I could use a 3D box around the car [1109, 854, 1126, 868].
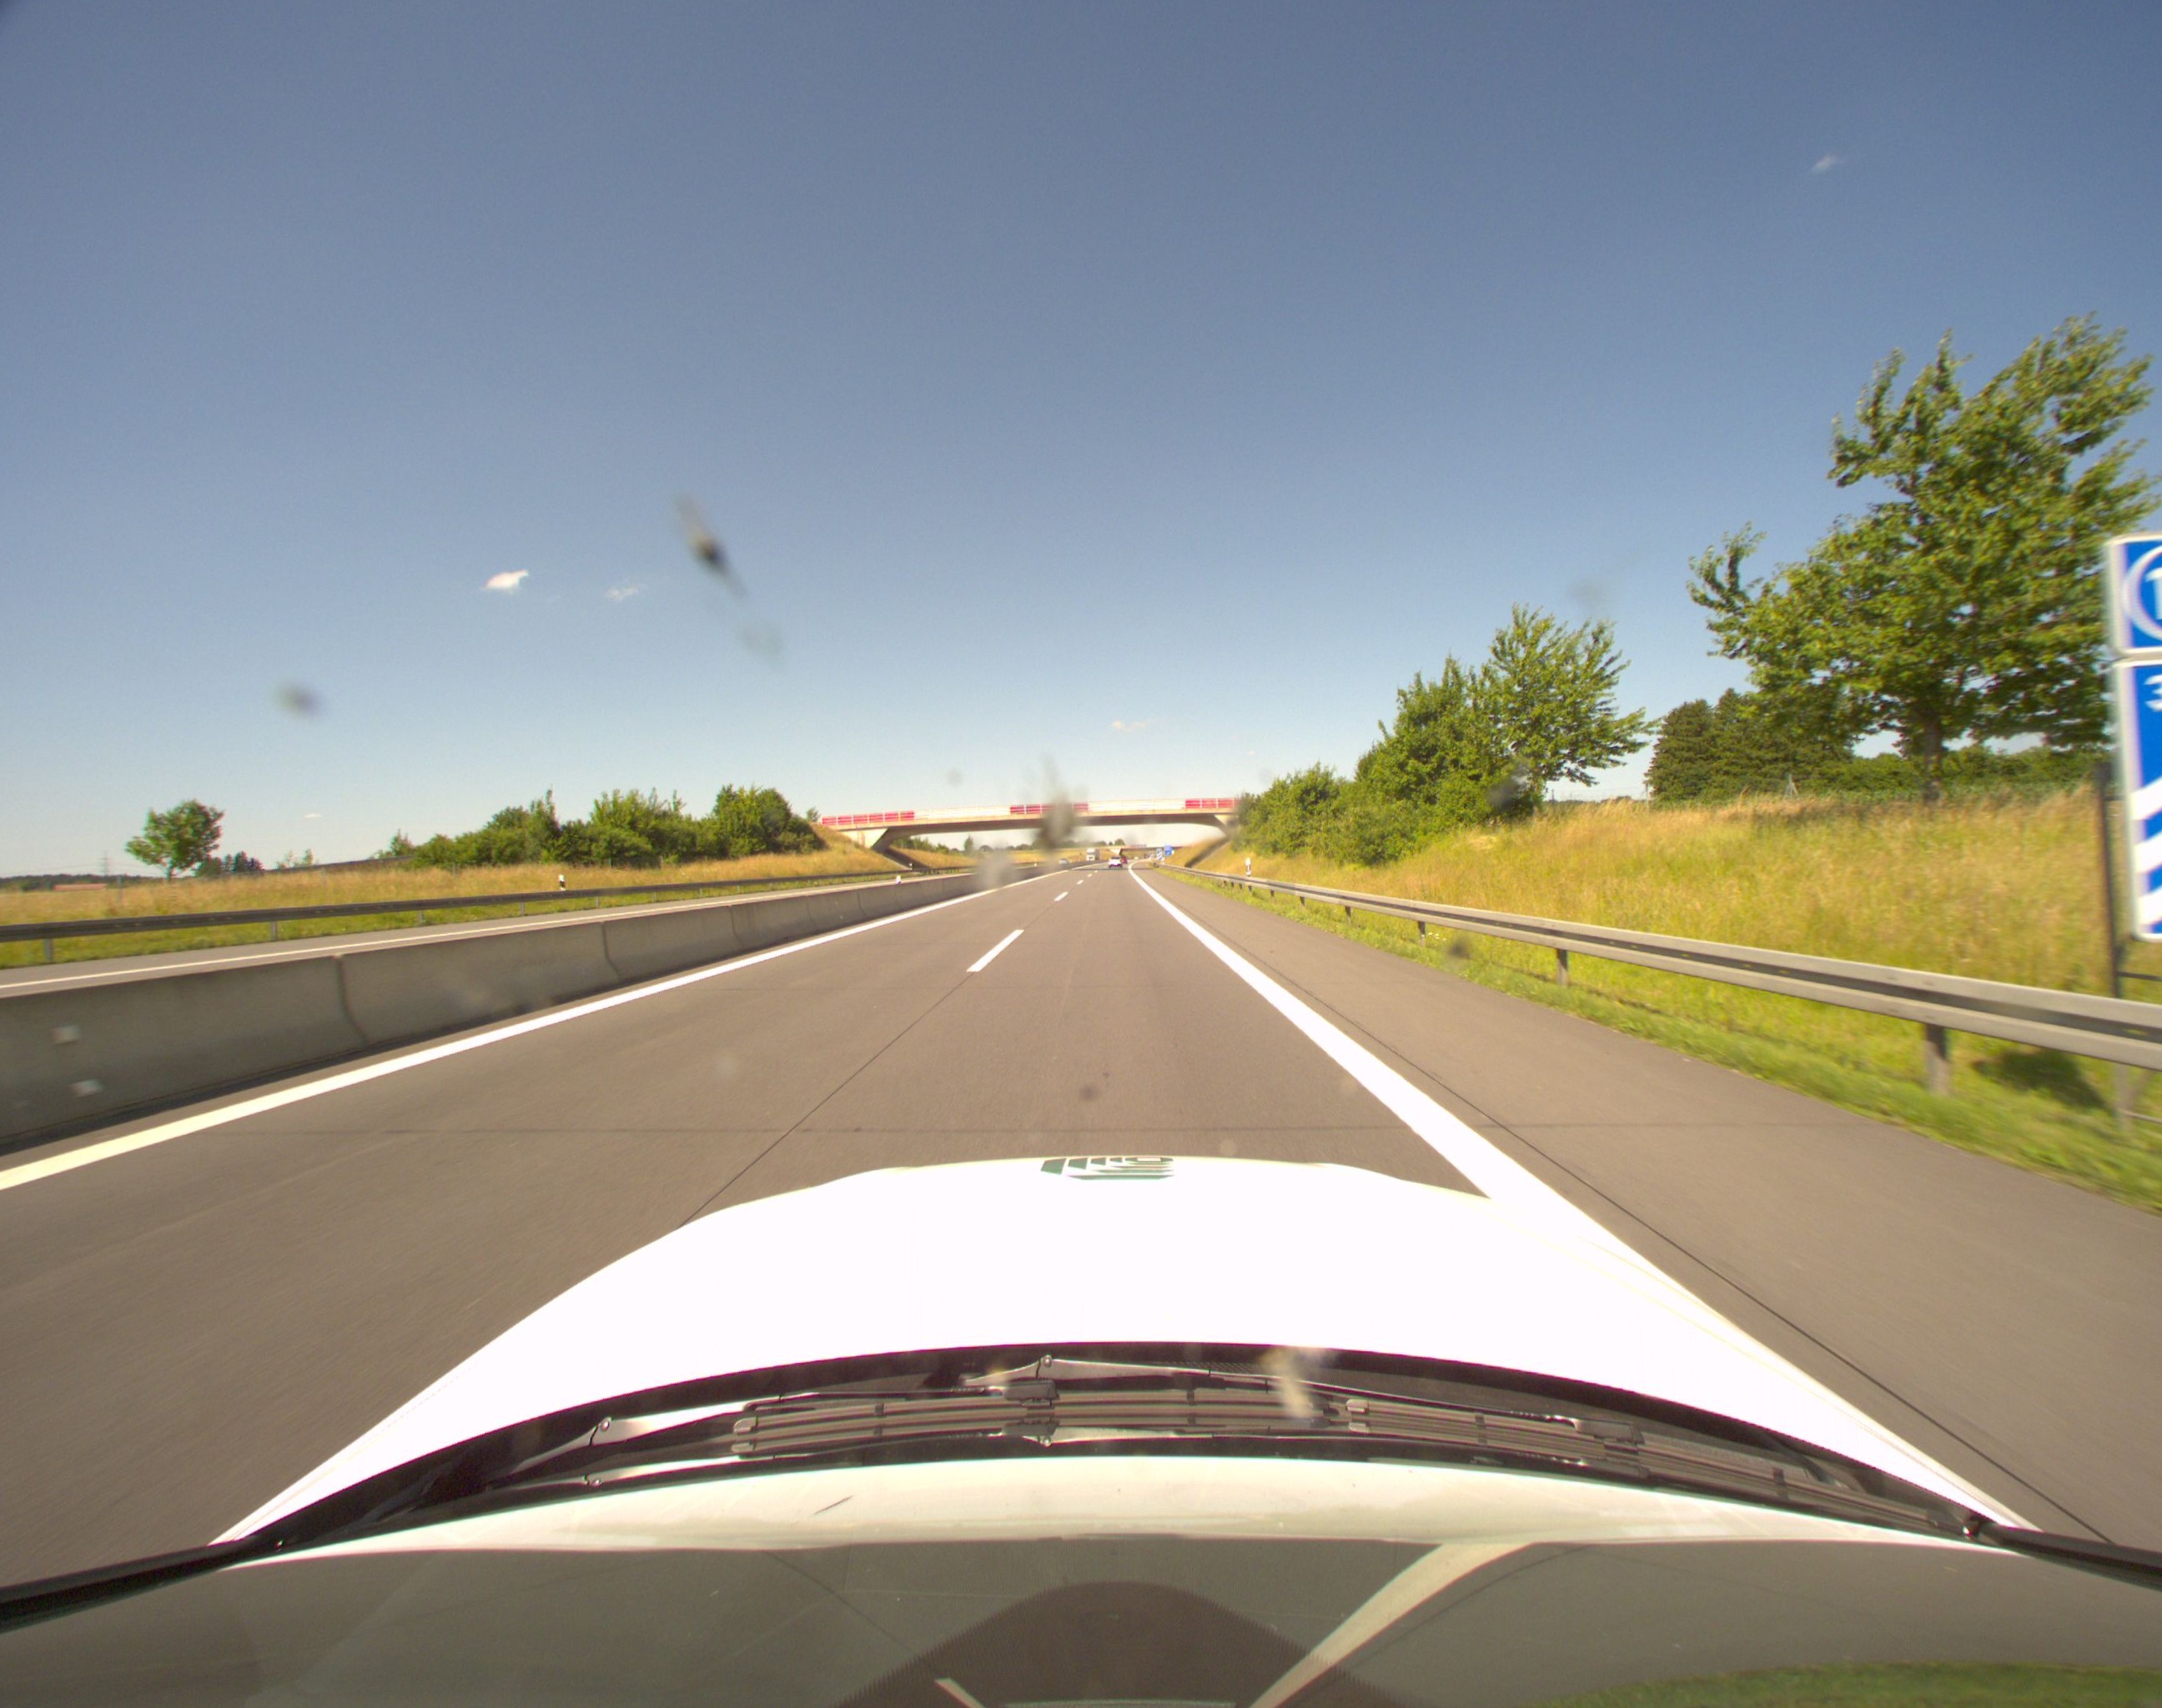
[{"bbox_3d":[4.992,0.979,111.890,1.987,1.731,4.868,-3,0,0],"label":"car"}]

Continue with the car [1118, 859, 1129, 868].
[{"bbox_3d":[8.610,1.845,164.786,1.984,1.731,4.875,-3,0,4],"label":"car"}]

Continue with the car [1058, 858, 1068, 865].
[{"bbox_3d":[-4.100,1.654,185.397,1.652,1.453,4.005,-1,0,4],"label":"car"}]
